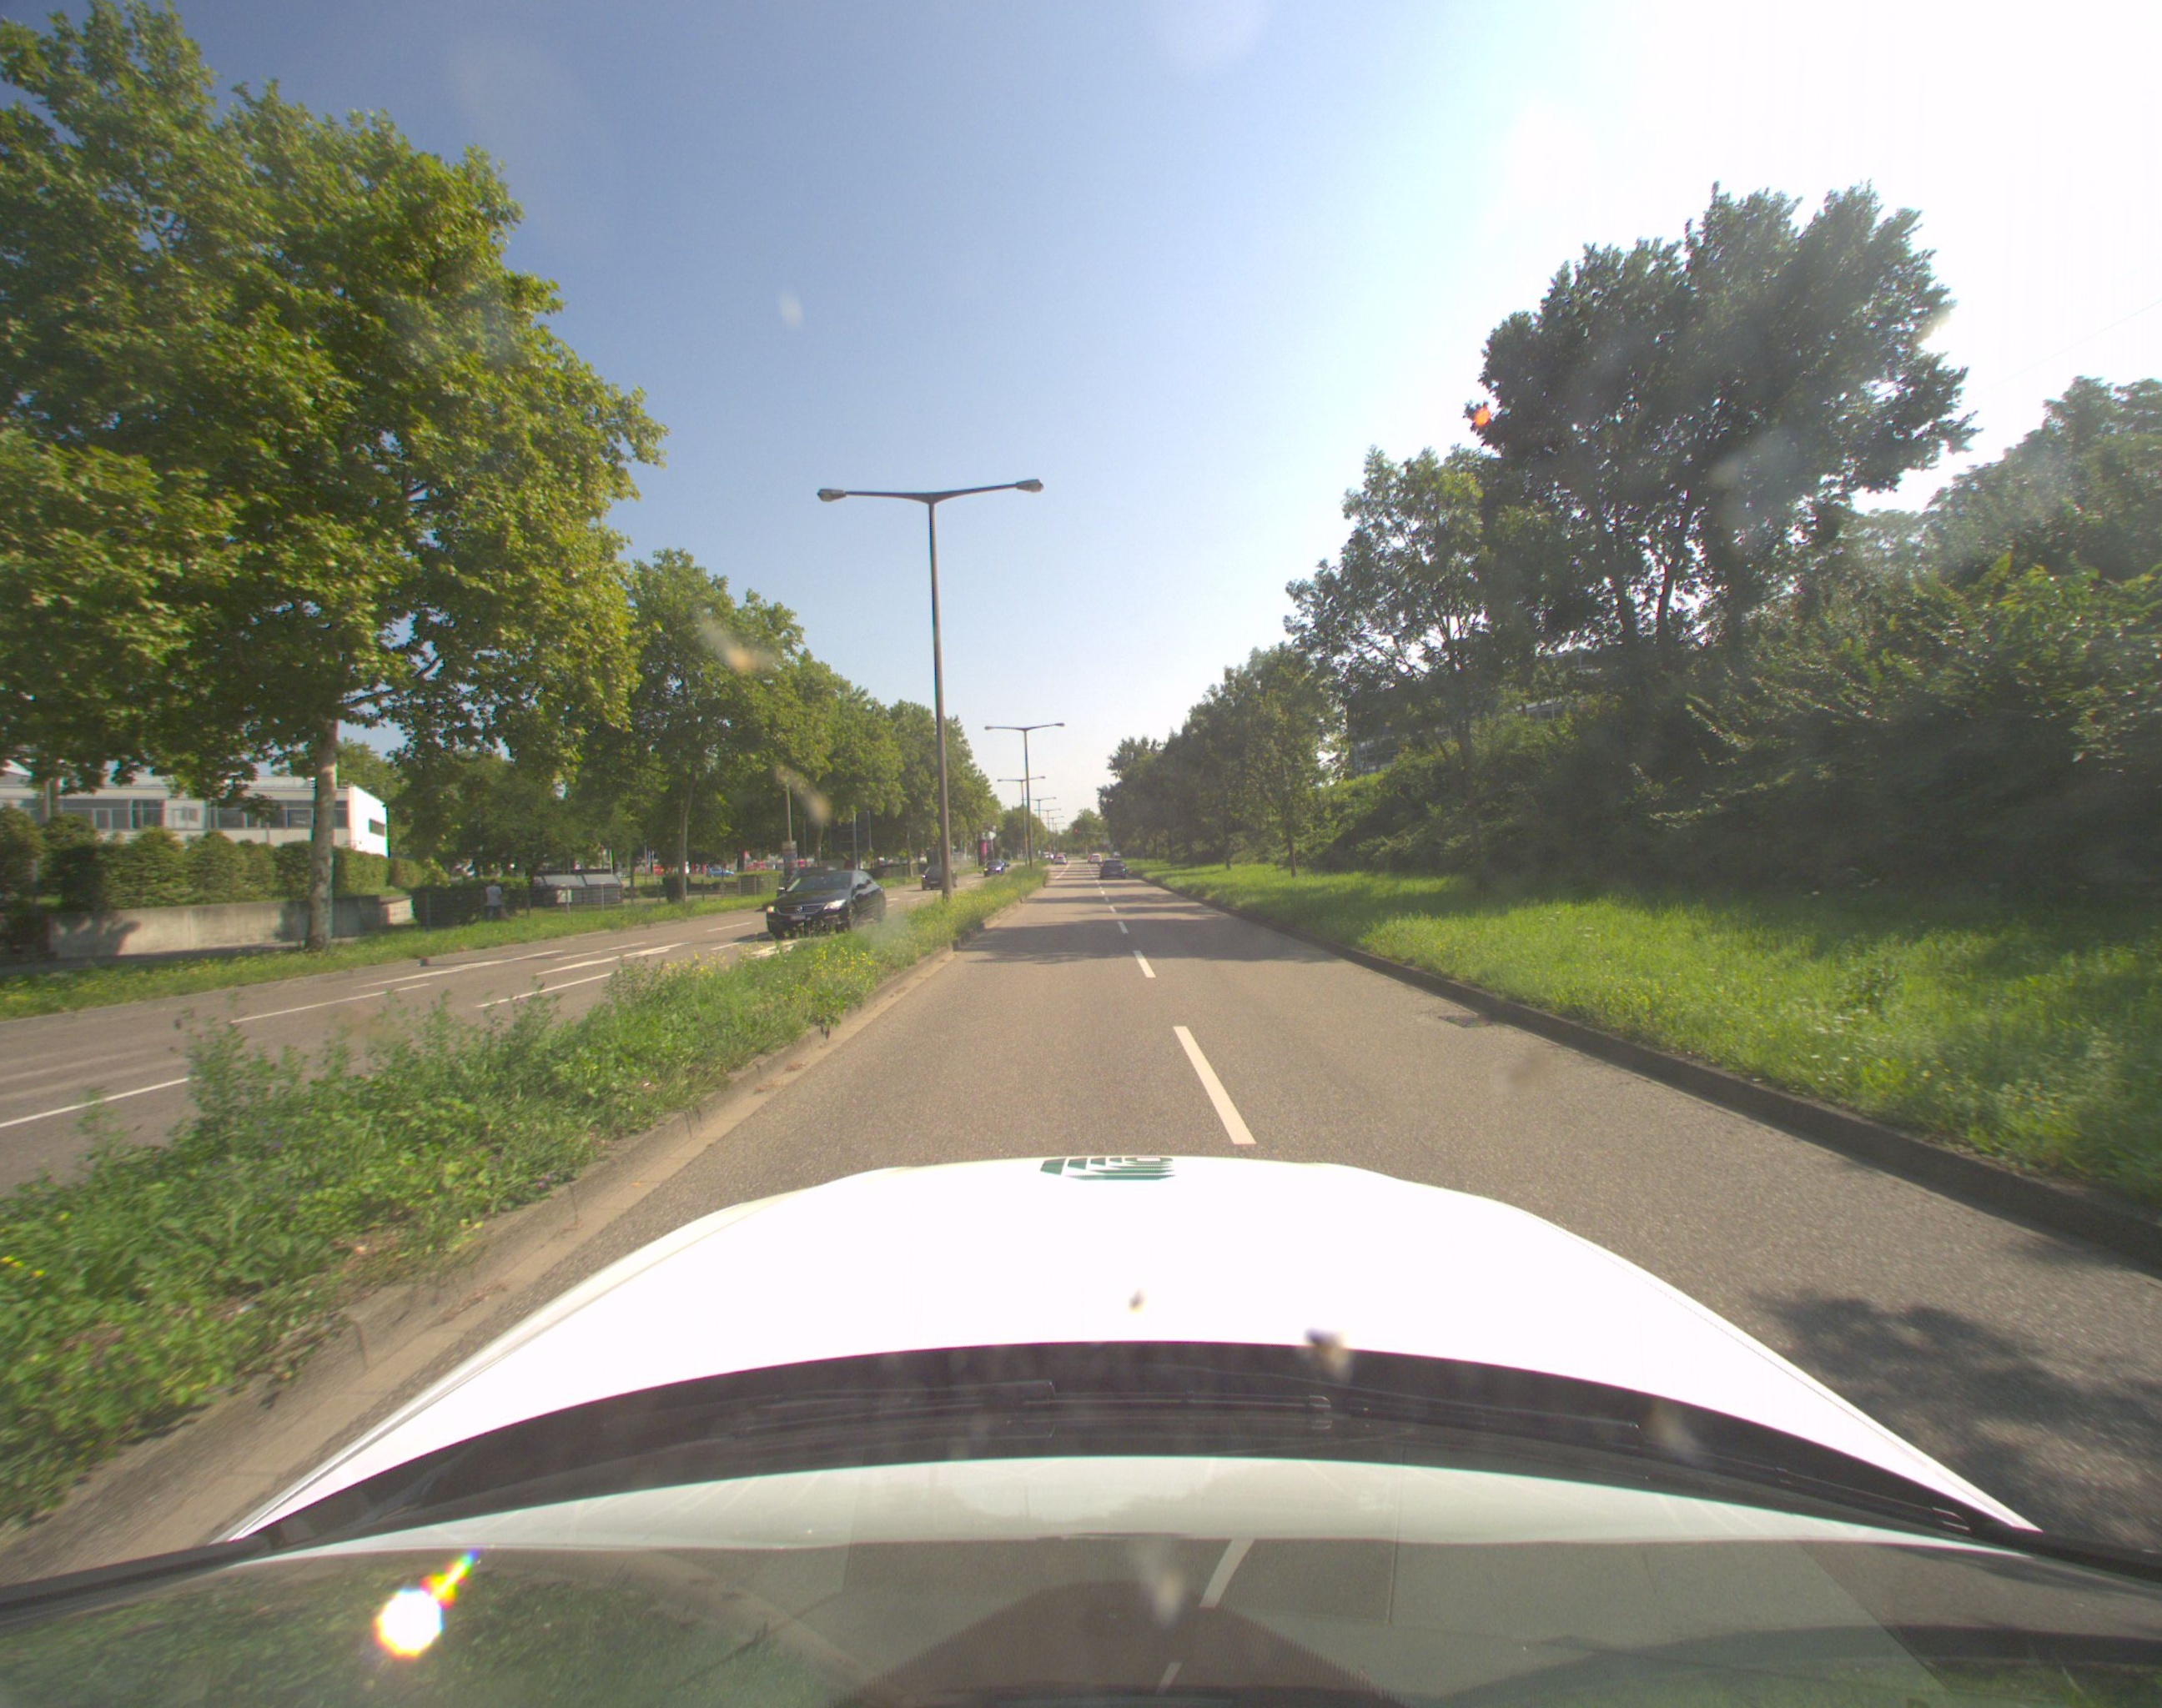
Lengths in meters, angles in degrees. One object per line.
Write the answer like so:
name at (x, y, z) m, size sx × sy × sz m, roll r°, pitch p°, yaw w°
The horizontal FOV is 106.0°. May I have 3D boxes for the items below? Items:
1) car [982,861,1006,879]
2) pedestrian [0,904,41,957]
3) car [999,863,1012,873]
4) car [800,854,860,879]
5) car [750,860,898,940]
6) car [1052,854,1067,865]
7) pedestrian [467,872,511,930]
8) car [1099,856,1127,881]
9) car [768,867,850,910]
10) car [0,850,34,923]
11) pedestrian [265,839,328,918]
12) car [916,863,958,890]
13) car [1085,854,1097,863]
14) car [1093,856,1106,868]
car at (-8.514, 1.590, 80.181) m, size 1.988 × 1.585 × 4.343 m, roll -3°, pitch 0°, yaw -2°
pedestrian at (-23.964, 1.704, 18.161) m, size 0.734 × 1.109 × 0.561 m, roll -1°, pitch 2°, yaw -5°
car at (-12.222, 2.247, 131.278) m, size 1.791 × 1.417 × 4.405 m, roll -4°, pitch 0°, yaw -3°
car at (-26.049, 1.305, 84.677) m, size 5.569 × 2.336 × 2.277 m, roll -1°, pitch 2°, yaw -2°
car at (-5.779, 0.955, 19.009) m, size 1.839 × 1.489 × 4.643 m, roll -4°, pitch 0°, yaw 1°
car at (-3.314, 0.846, 128.743) m, size 1.986 × 1.702 × 4.002 m, roll -3°, pitch 0°, yaw 2°
pedestrian at (-21.824, 1.702, 30.019) m, size 1.252 × 2.013 × 1.022 m, roll 1°, pitch 3°, yaw 42°
car at (2.203, 0.970, 56.606) m, size 1.775 × 1.427 × 4.000 m, roll -1°, pitch 2°, yaw 0°
car at (-11.235, 1.397, 33.997) m, size 1.839 × 1.605 × 4.610 m, roll -2°, pitch -1°, yaw 0°
car at (-31.205, 0.945, 21.048) m, size 4.634 × 1.901 × 1.979 m, roll -2°, pitch 3°, yaw -35°
pedestrian at (-24.415, 0.736, 25.352) m, size 0.964 × 2.390 × 0.917 m, roll 0°, pitch 2°, yaw 7°
car at (-8.744, 1.321, 49.750) m, size 1.699 × 1.490 × 4.312 m, roll -2°, pitch 0°, yaw 1°
car at (1.860, 0.848, 150.789) m, size 1.988 × 1.654 × 3.997 m, roll 1°, pitch 1°, yaw -2°
car at (2.941, 1.283, 131.289) m, size 1.987 × 1.654 × 3.999 m, roll -3°, pitch 0°, yaw -1°
